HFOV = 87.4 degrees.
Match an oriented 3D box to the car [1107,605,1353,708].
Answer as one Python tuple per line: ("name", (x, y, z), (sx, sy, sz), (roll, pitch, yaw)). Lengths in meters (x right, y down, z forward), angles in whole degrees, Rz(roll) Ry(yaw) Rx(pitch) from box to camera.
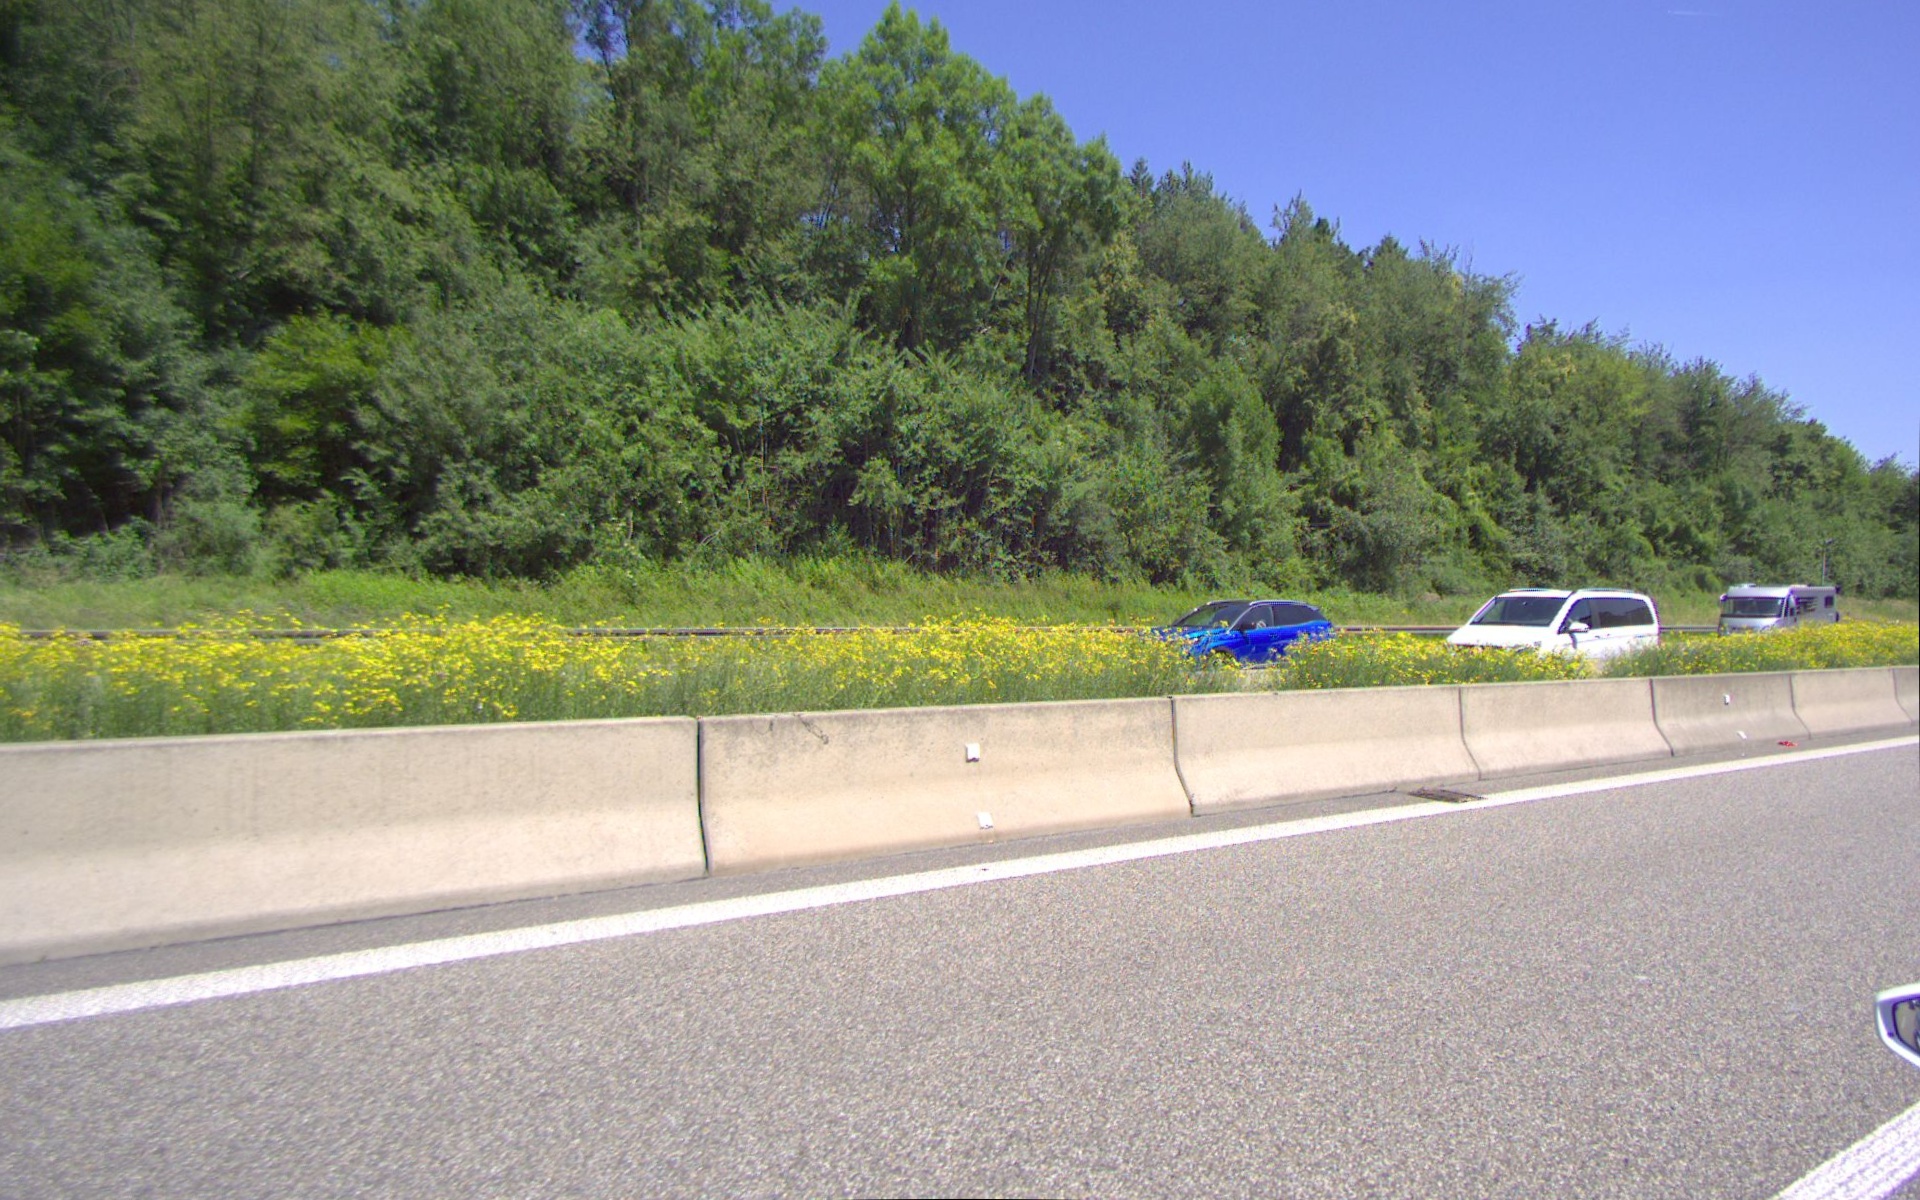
("car", (5.098, 1.027, 18.847), (4.351, 1.713, 1.983), (2, -1, -31))

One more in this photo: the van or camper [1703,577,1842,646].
("van or camper", (33.716, 0.527, 41.610), (6.851, 2.594, 2.176), (2, -1, -30))

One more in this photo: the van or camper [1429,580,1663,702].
("van or camper", (11.080, 0.764, 18.906), (4.537, 2.040, 1.872), (2, -1, -32))
